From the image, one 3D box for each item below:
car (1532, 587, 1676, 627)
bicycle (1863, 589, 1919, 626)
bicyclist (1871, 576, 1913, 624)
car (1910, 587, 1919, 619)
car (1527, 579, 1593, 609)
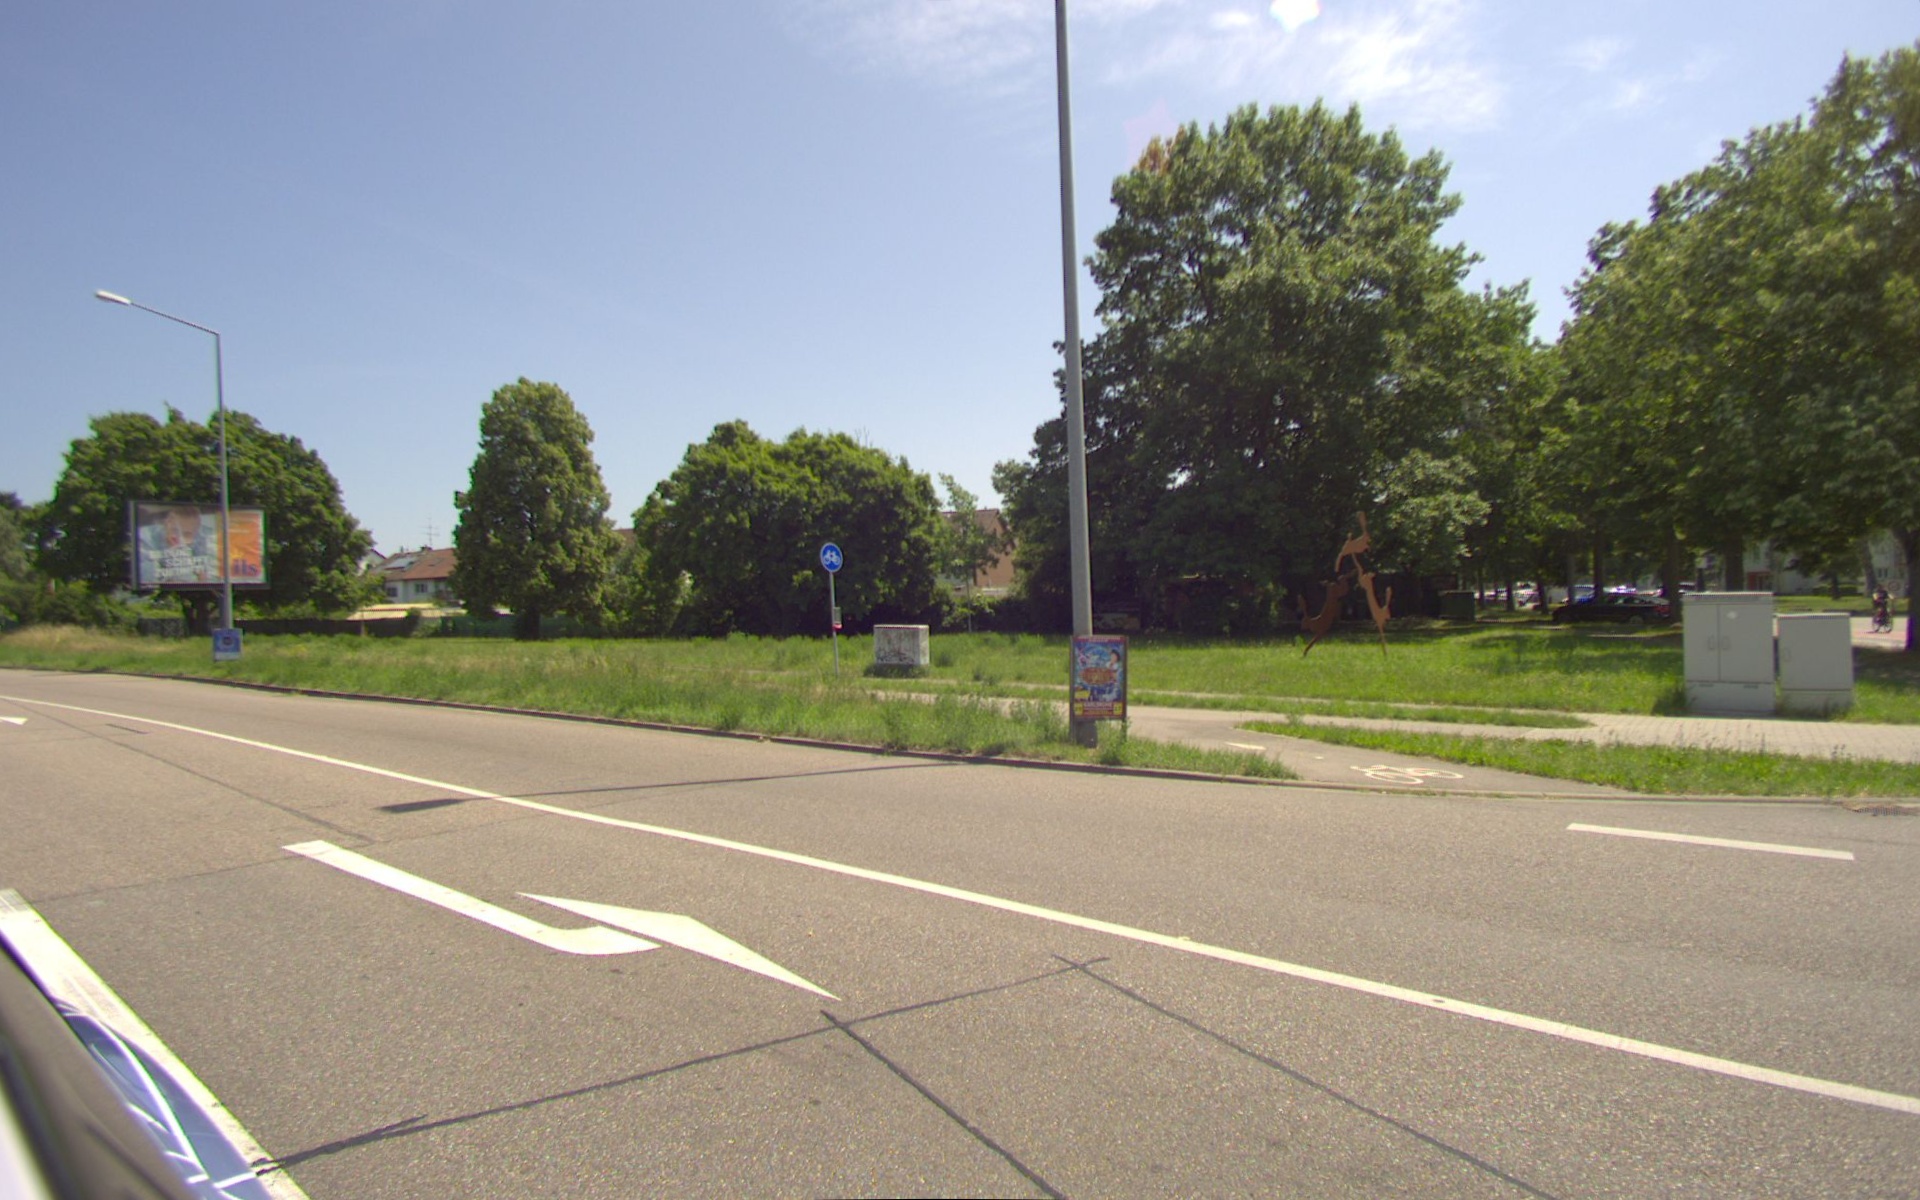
[{"bbox_3d":[26.593,0.321,41.957,1.966,1.479,4.597,-1,-1,-31],"label":"car"},{"bbox_3d":[33.967,0.268,36.879,0.767,1.309,2.048,-2,0,18],"label":"bicycle"},{"bbox_3d":[33.969,0.009,36.893,0.767,1.705,0.893,-2,-1,18],"label":"bicyclist"},{"bbox_3d":[44.641,0.119,44.762,1.896,1.510,4.605,-2,0,17],"label":"car"},{"bbox_3d":[45.242,-0.456,76.403,3.971,2.028,1.987,-2,3,21],"label":"car"}]
